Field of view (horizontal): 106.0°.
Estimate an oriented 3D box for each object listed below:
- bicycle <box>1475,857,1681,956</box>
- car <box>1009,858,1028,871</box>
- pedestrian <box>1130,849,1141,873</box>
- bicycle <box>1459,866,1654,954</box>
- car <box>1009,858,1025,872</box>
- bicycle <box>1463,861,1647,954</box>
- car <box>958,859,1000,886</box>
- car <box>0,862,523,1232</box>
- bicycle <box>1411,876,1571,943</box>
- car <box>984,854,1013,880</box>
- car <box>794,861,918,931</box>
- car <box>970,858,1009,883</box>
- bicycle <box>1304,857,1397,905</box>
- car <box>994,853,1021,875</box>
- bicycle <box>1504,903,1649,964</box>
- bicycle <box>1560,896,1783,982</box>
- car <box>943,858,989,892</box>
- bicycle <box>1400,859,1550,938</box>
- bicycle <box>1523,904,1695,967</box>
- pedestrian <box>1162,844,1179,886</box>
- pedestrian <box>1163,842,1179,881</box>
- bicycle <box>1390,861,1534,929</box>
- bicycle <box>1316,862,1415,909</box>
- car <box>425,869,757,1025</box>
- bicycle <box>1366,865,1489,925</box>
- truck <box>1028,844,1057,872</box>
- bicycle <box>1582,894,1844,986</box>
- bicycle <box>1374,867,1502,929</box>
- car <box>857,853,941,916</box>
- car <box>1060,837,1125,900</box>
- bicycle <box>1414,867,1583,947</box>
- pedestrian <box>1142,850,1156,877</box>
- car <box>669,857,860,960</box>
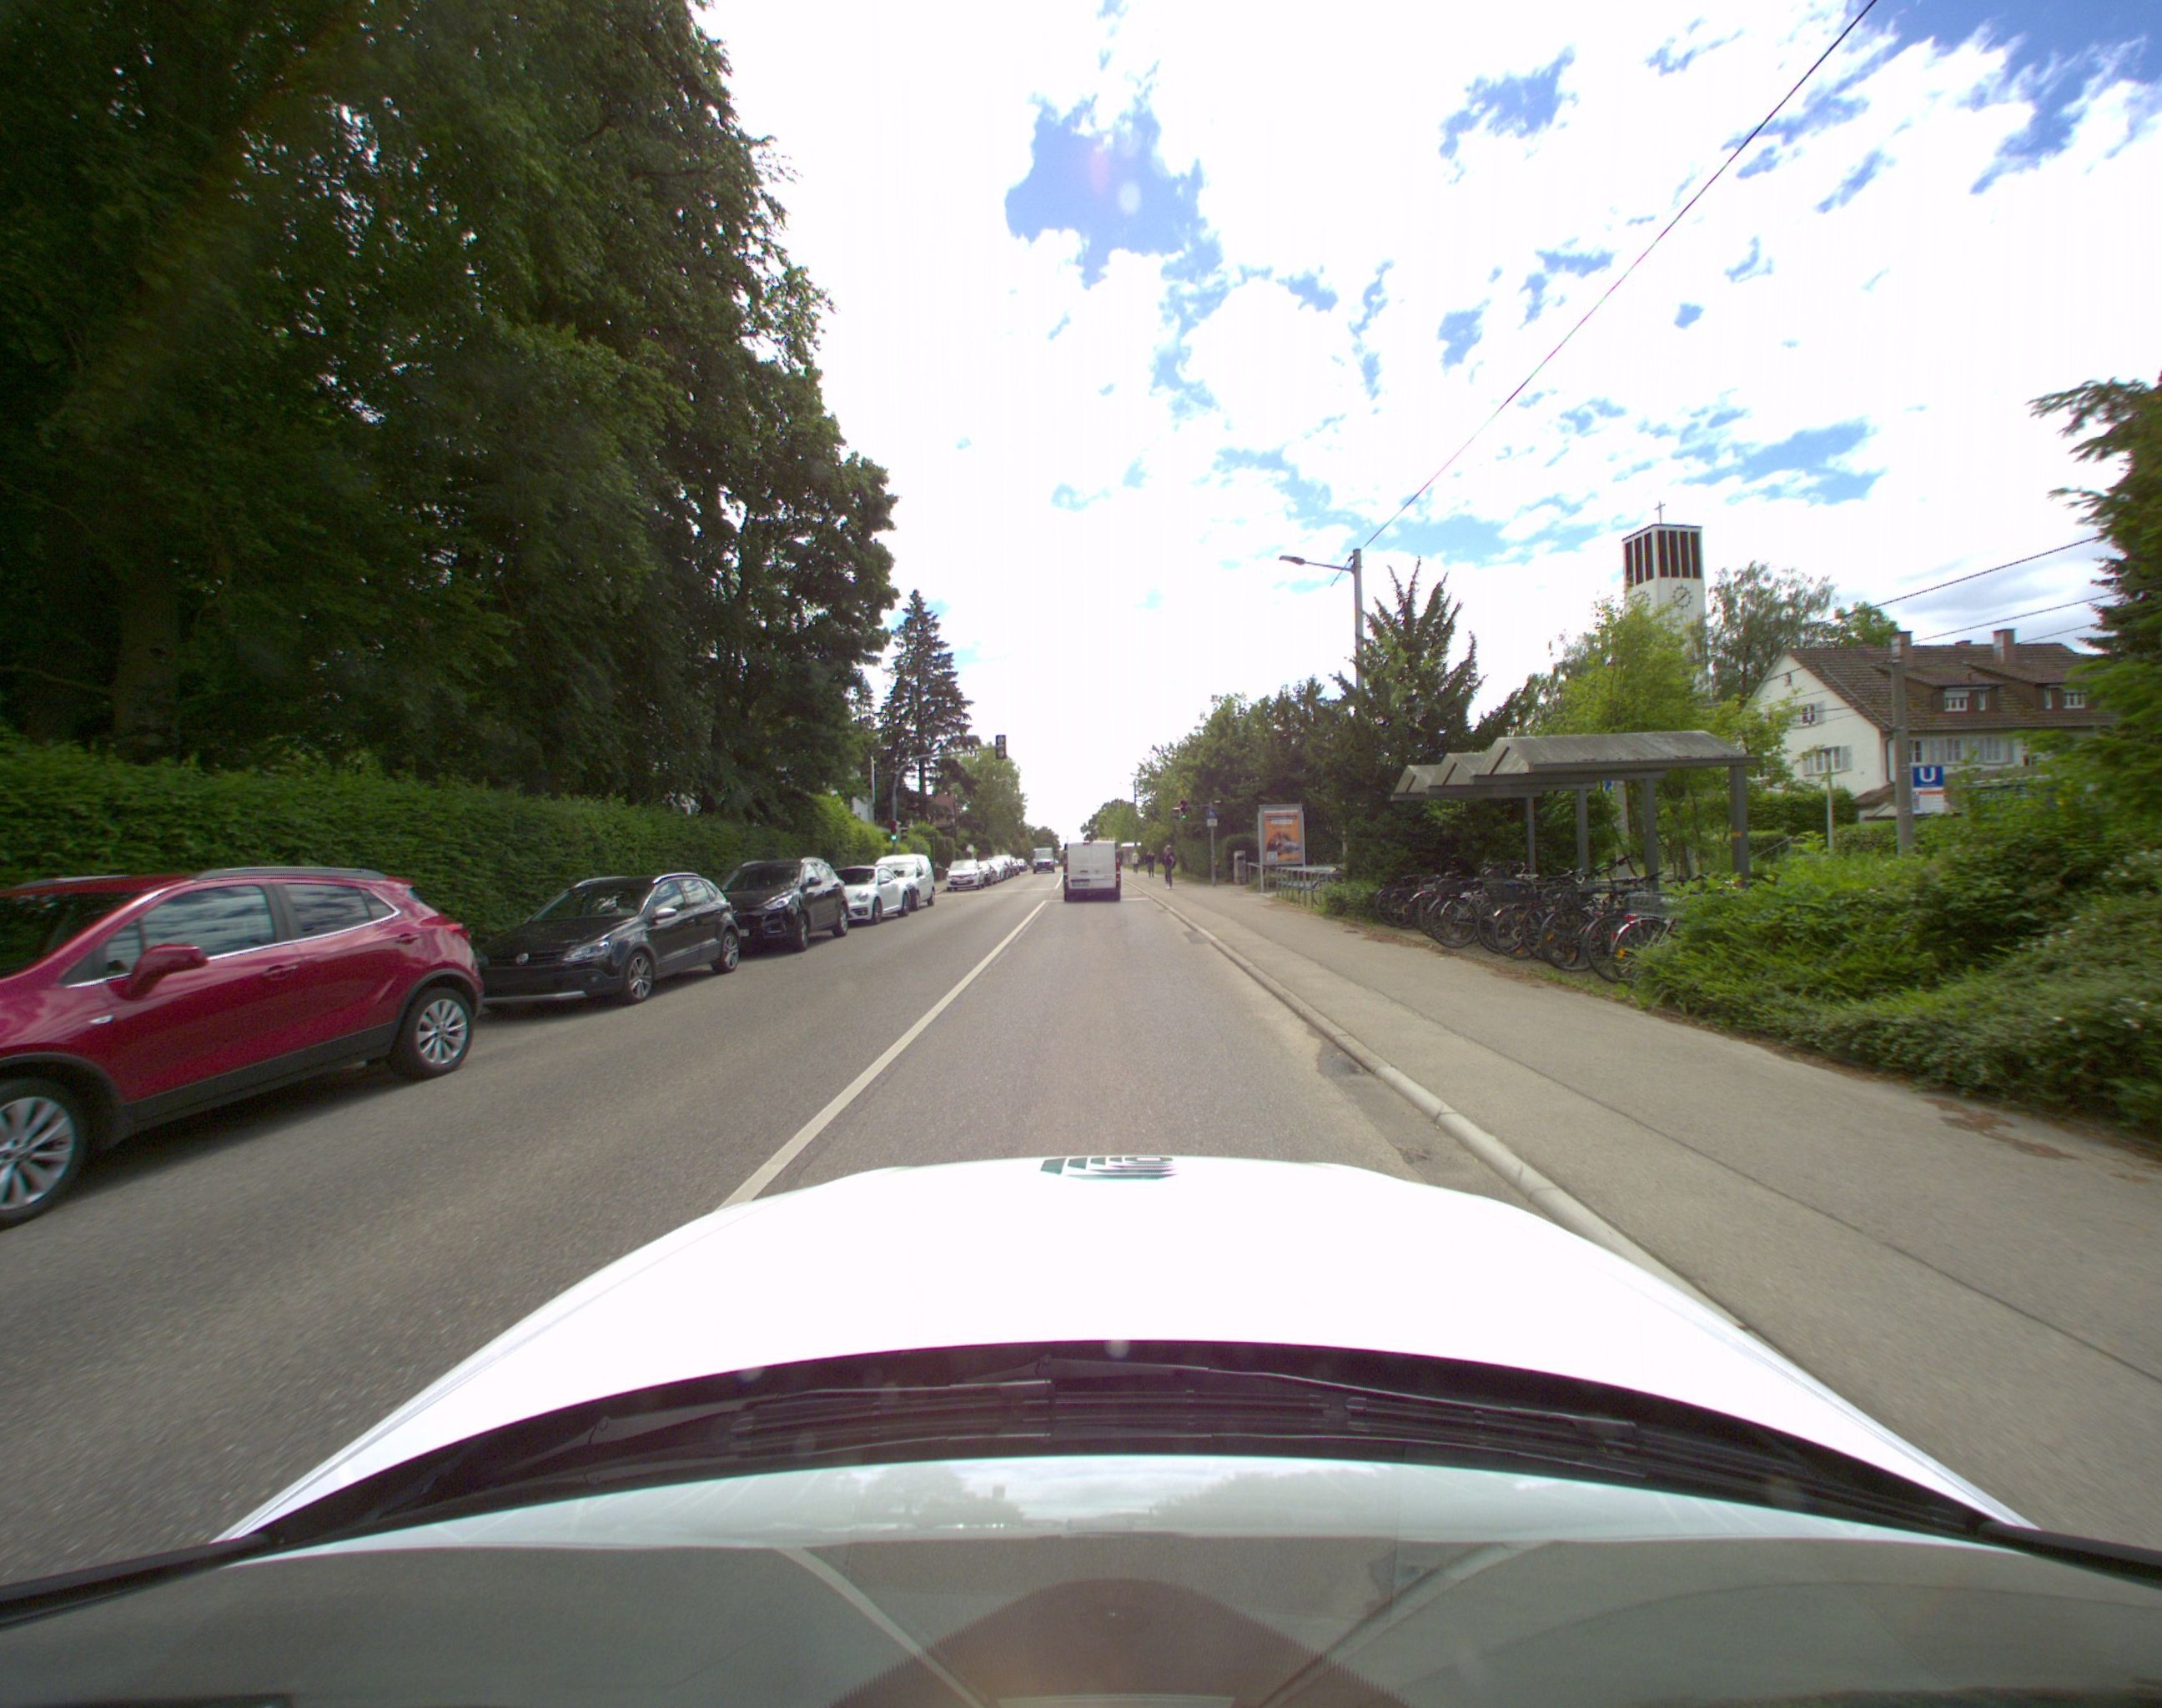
[{"bbox_3d":[6.177,0.651,10.187,2.190,1.149,0.452,-2,-1,5],"label":"bicycle"},{"bbox_3d":[-7.455,1.233,97.490,1.862,1.459,4.486,-2,-1,-1],"label":"car"},{"bbox_3d":[3.766,0.506,56.270,0.683,1.659,0.690,-1,-1,3],"label":"pedestrian"},{"bbox_3d":[6.159,0.719,10.613,2.190,1.047,0.452,-2,-1,5],"label":"bicycle"},{"bbox_3d":[-7.319,1.227,92.577,1.649,1.427,3.897,-3,0,-7],"label":"car"},{"bbox_3d":[6.405,0.710,11.035,2.195,1.047,0.451,-5,0,-3],"label":"bicycle"},{"bbox_3d":[-5.852,1.038,47.312,1.737,1.410,4.324,-3,0,1],"label":"car"},{"bbox_3d":[-5.789,0.912,4.964,1.785,1.610,4.413,-2,0,-2],"label":"car"},{"bbox_3d":[6.089,0.810,12.118,2.196,0.938,0.451,0,-1,-4],"label":"bicycle"},{"bbox_3d":[-6.026,0.921,59.684,1.622,1.678,4.581,-4,0,-1],"label":"car"},{"bbox_3d":[-5.703,1.011,21.236,1.697,1.453,4.361,-5,0,3],"label":"car"},{"bbox_3d":[-5.933,1.041,53.235,1.799,1.459,5.069,-4,0,1],"label":"car"},{"bbox_3d":[6.643,0.663,20.120,2.080,1.081,0.547,-3,-1,2],"label":"bicycle"},{"bbox_3d":[-6.435,0.872,71.784,1.980,1.819,4.704,-2,0,-2],"label":"car"},{"bbox_3d":[5.836,0.921,9.588,1.678,0.639,0.331,0,-1,-12],"label":"bicycle"},{"bbox_3d":[6.072,0.866,8.414,1.983,0.826,0.451,-1,-1,-1],"label":"bicycle"},{"bbox_3d":[-5.849,1.029,41.815,1.697,1.543,3.743,-4,0,1],"label":"car"},{"bbox_3d":[6.098,0.673,12.632,2.083,1.150,0.530,-1,-1,-3],"label":"bicycle"},{"bbox_3d":[6.049,0.917,9.322,1.982,0.639,0.331,0,-1,-12],"label":"bicycle"},{"bbox_3d":[3.594,0.439,32.749,0.644,1.664,0.709,-1,-1,4],"label":"pedestrian"},{"bbox_3d":[4.314,0.368,39.224,0.741,1.883,0.802,-1,-1,5],"label":"pedestrian"},{"bbox_3d":[6.227,0.678,13.421,2.071,1.047,0.453,-3,-1,20],"label":"bicycle"},{"bbox_3d":[6.510,0.719,18.712,2.080,1.047,0.559,1,-1,2],"label":"bicycle"},{"bbox_3d":[-5.924,1.002,10.567,1.728,1.459,4.235,-2,0,-1],"label":"car"},{"bbox_3d":[6.321,0.742,14.907,2.083,1.047,0.450,0,-1,-3],"label":"bicycle"},{"bbox_3d":[-3.517,0.327,75.653,2.182,2.371,6.904,-3,0,0],"label":"truck"},{"bbox_3d":[6.017,0.815,7.819,2.066,0.826,0.452,-1,-1,5],"label":"bicycle"},{"bbox_3d":[6.272,0.756,14.351,2.083,1.047,0.450,0,-1,-3],"label":"bicycle"},{"bbox_3d":[-5.848,0.914,26.642,1.672,1.758,4.605,-4,0,-1],"label":"car"},{"bbox_3d":[0.362,0.475,28.013,2.028,1.945,4.992,0,0,0],"label":"car"},{"bbox_3d":[5.941,0.749,11.627,2.195,1.047,0.451,-2,-1,-3],"label":"bicycle"},{"bbox_3d":[4.138,0.585,49.532,0.836,1.659,0.767,-1,-1,3],"label":"pedestrian"},{"bbox_3d":[-5.807,0.904,15.642,1.891,1.593,4.641,-2,0,-1],"label":"car"}]
